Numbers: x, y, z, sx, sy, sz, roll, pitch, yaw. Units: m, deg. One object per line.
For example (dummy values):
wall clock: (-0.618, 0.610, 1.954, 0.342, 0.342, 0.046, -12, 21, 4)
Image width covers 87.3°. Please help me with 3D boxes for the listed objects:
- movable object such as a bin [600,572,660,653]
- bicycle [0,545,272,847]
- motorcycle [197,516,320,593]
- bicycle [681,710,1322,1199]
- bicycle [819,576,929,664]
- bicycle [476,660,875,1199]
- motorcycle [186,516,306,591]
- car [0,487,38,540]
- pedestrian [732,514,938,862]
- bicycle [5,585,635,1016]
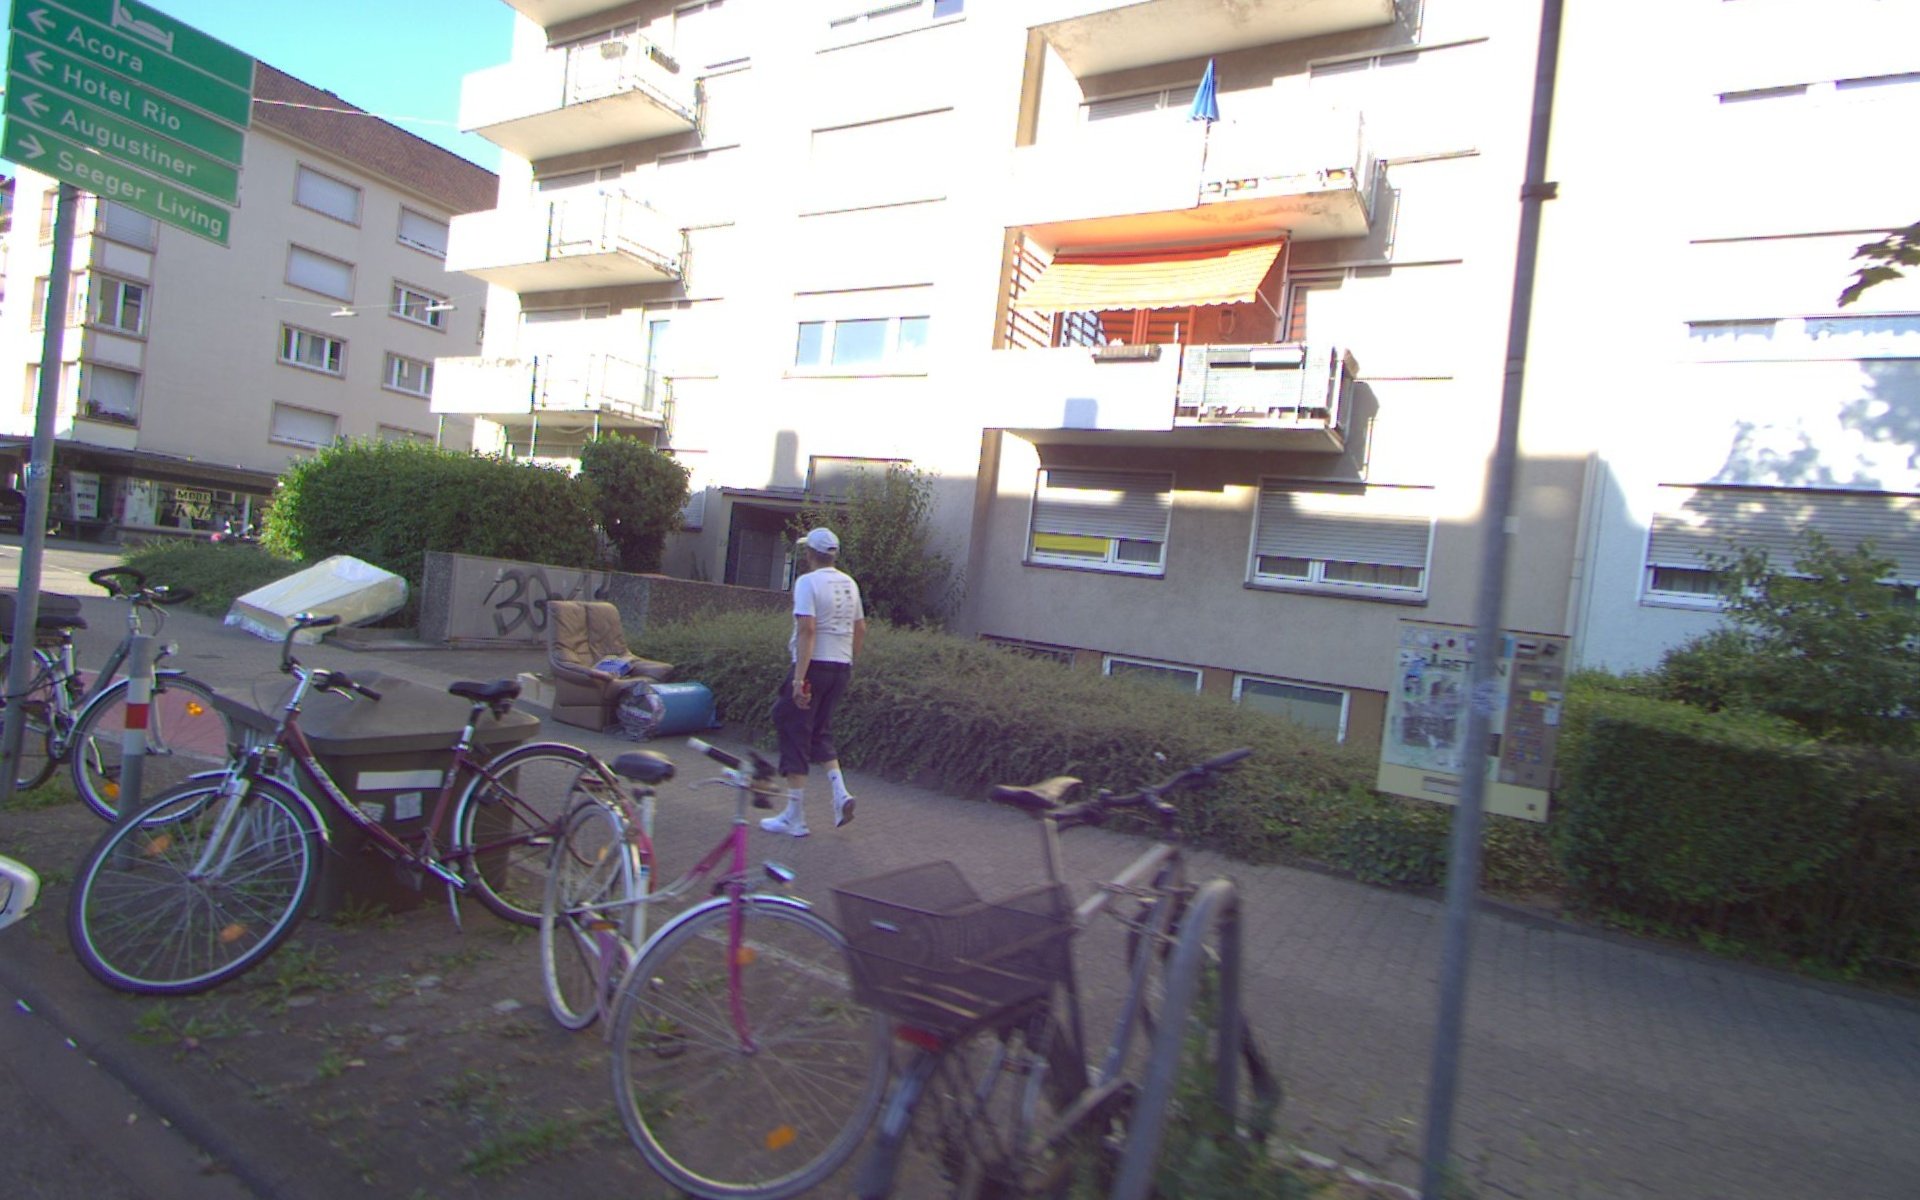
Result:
movable object such as a bin: (-4.924, 0.191, 15.009, 0.410, 1.141, 0.632, 7, 1, 31)
bicycle: (-4.211, 0.382, 4.882, 1.924, 1.163, 0.502, 6, 3, 25)
motorcycle: (-14.731, -0.937, 21.165, 0.683, 1.378, 1.914, 7, 0, 35)
bicycle: (0.236, 0.889, 2.264, 0.509, 1.122, 1.684, 7, 3, 37)
bicycle: (-1.390, 0.301, 16.008, 1.766, 1.198, 0.356, 7, 1, 32)
bicycle: (-0.934, 0.812, 2.949, 0.614, 1.064, 1.560, 6, 0, -32)
motorcycle: (-15.404, -0.979, 21.748, 0.683, 1.378, 1.914, 7, 0, 35)
car: (-30.962, -2.877, 31.666, 3.934, 1.504, 1.778, 7, 0, 32)
pedestrian: (-0.704, 0.453, 5.657, 0.760, 1.772, 0.662, 7, 3, 37)
bicycle: (-2.241, 0.598, 3.764, 0.673, 1.173, 1.832, 7, 3, 37)
